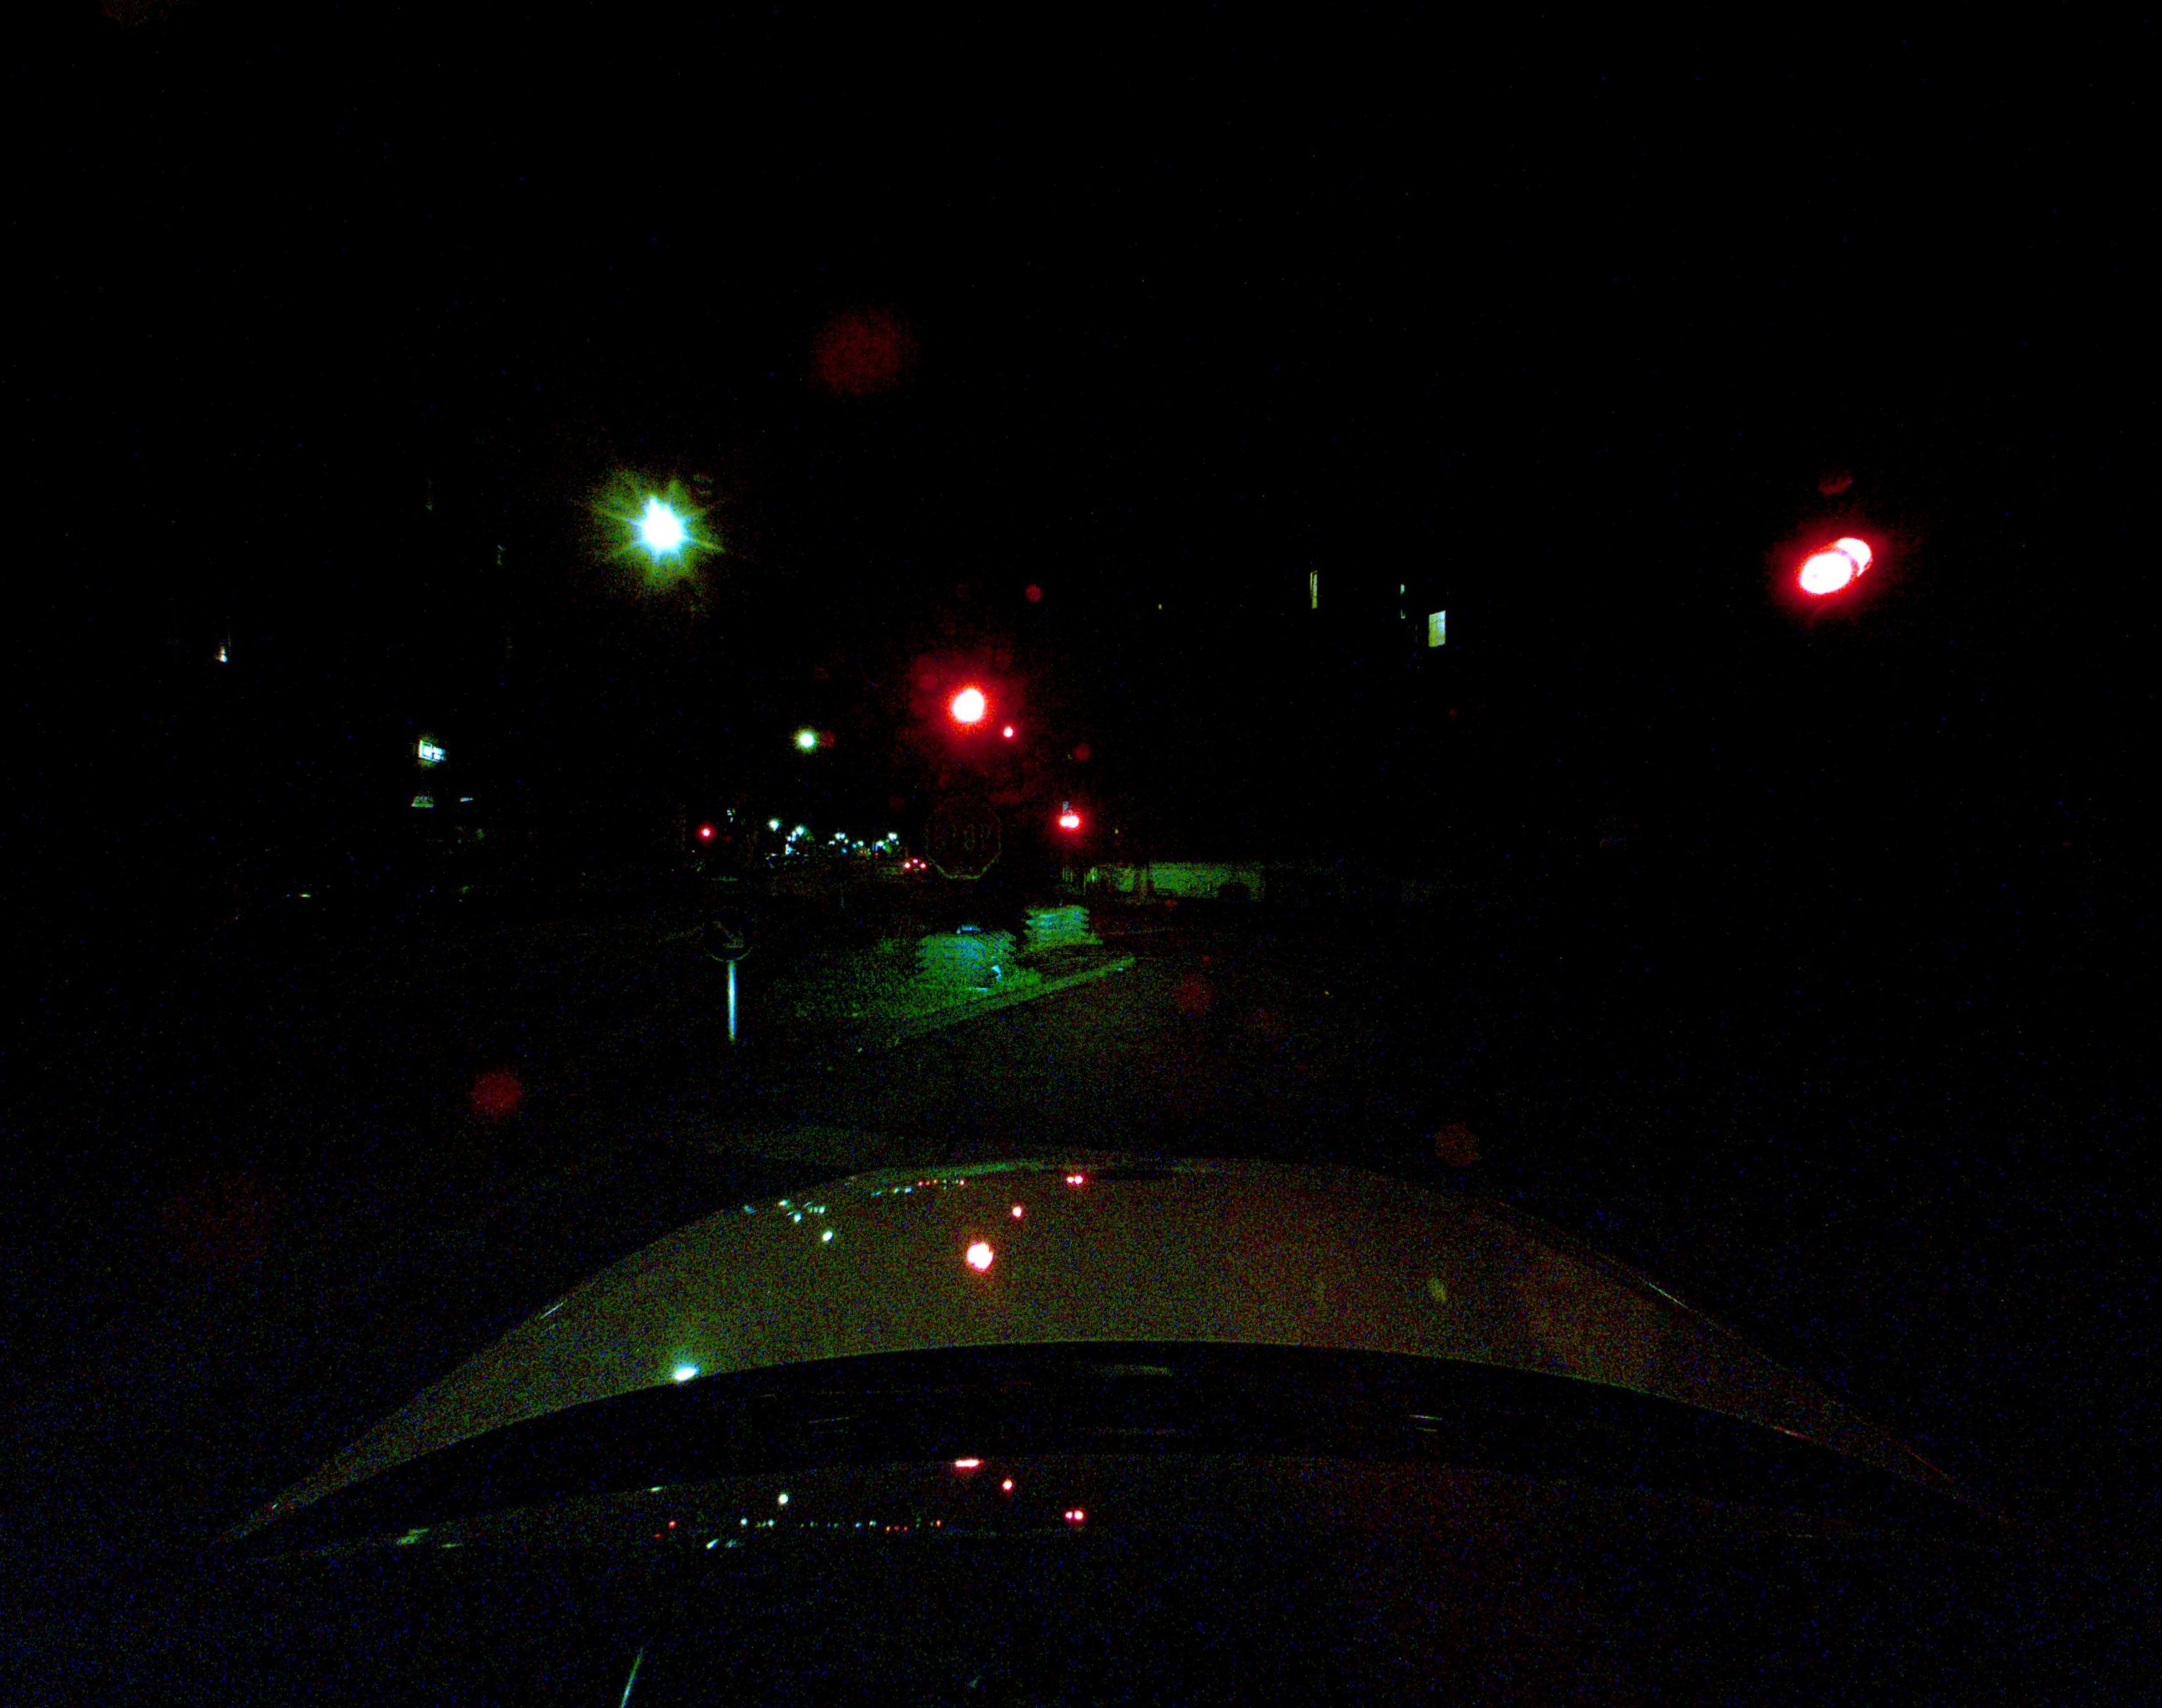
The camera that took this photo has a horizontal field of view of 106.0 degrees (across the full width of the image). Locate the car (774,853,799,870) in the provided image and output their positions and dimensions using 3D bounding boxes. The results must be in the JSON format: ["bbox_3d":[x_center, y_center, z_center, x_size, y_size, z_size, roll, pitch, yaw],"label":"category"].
[{"bbox_3d":[-26.485,0.687,73.354,1.653,1.431,3.982,1,0,-13],"label":"car"}]

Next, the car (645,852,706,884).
[{"bbox_3d":[-19.002,0.634,38.284,1.653,1.431,3.982,1,0,-13],"label":"car"}]

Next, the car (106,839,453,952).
[{"bbox_3d":[-12.585,0.576,13.305,1.901,1.471,4.432,3,-1,-13],"label":"car"}]

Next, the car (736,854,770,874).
[{"bbox_3d":[-23.800,0.714,59.247,1.653,1.431,3.982,1,0,-13],"label":"car"}]

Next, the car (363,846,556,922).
[{"bbox_3d":[-13.667,0.629,18.267,1.806,1.481,4.302,1,-1,-14],"label":"car"}]

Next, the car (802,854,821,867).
[{"bbox_3d":[-30.853,0.767,93.197,1.653,1.431,3.982,1,0,-13],"label":"car"}]

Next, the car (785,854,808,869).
[{"bbox_3d":[-27.890,0.754,79.845,1.653,1.431,3.982,1,0,-13],"label":"car"}]

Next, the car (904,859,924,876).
[{"bbox_3d":[-14.864,1.168,72.421,1.652,1.431,3.984,1,0,-12],"label":"car"}]

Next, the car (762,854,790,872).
[{"bbox_3d":[-25.181,0.760,67.290,1.653,1.431,3.982,1,0,-13],"label":"car"}]
